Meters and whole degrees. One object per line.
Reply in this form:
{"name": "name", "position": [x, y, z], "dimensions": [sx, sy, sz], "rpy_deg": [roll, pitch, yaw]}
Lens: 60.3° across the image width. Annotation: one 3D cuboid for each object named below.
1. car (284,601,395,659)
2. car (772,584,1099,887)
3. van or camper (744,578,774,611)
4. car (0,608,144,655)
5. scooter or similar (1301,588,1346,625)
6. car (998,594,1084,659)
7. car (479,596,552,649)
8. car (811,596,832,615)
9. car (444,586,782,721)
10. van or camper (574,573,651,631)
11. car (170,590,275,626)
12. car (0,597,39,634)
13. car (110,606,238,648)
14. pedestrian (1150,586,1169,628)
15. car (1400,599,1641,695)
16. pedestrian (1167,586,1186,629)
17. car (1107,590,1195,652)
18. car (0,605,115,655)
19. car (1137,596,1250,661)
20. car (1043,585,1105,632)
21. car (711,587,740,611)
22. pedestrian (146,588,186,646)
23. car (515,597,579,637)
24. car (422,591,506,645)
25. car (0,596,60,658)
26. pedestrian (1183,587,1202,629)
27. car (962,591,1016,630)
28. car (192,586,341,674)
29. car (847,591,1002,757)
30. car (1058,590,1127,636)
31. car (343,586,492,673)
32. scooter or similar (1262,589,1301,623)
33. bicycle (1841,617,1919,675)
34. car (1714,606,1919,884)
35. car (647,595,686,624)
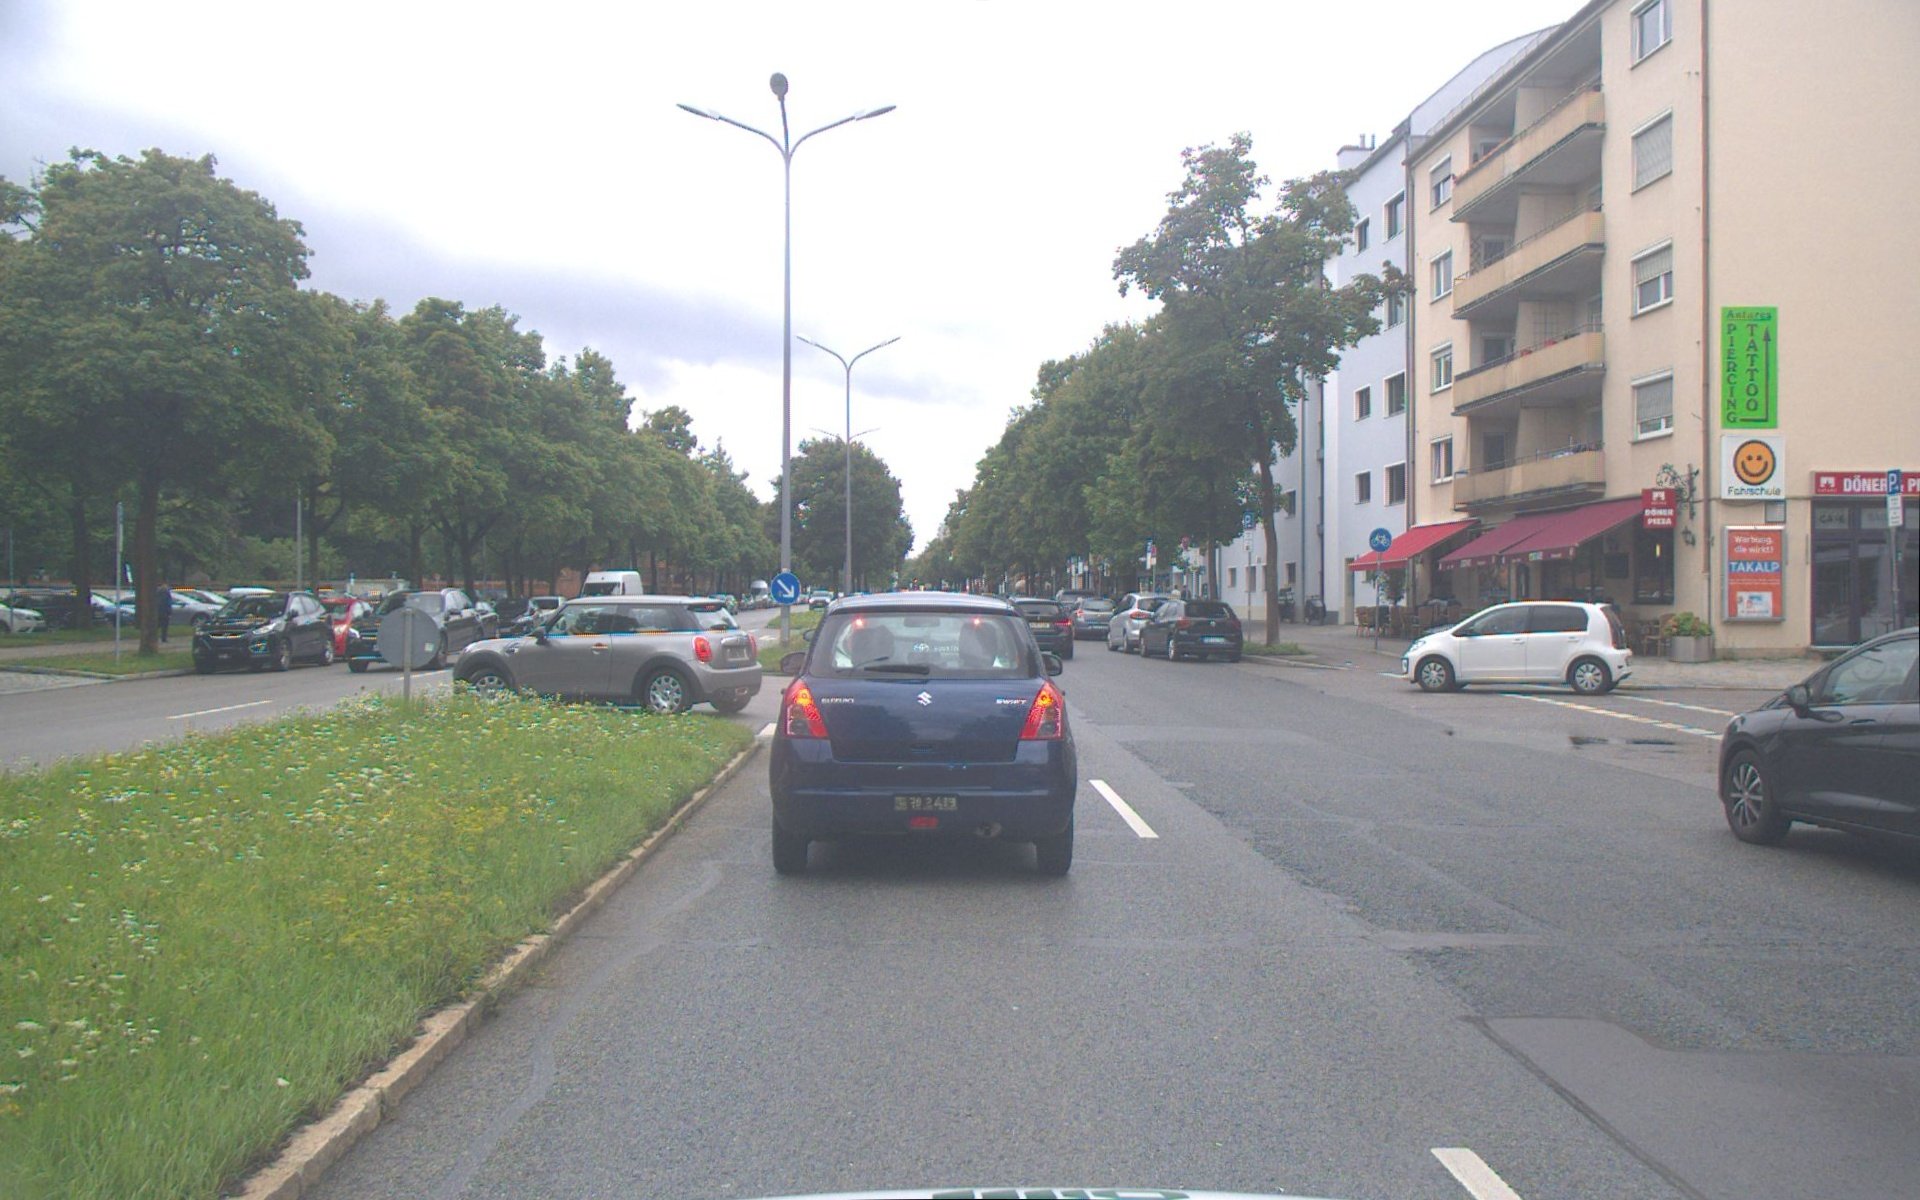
{"name": "car", "position": [-15.307, 0.713, 40.959], "dimensions": [1.559, 1.335, 3.379], "rpy_deg": [1, 0, -2]}
{"name": "car", "position": [-0.204, 0.673, 10.335], "dimensions": [1.648, 1.528, 3.917], "rpy_deg": [0, 0, -3]}
{"name": "van or camper", "position": [-21.100, -0.550, 173.825], "dimensions": [2.509, 3.353, 6.934], "rpy_deg": [1, 0, -2]}
{"name": "car", "position": [-29.152, 1.021, 54.390], "dimensions": [3.792, 1.471, 1.670], "rpy_deg": [1, 0, -7]}
{"name": "scooter or similar", "position": [13.551, 0.226, 61.750], "dimensions": [1.012, 1.330, 2.755], "rpy_deg": [0, 0, -1]}
{"name": "car", "position": [1.913, 0.611, 40.237], "dimensions": [1.723, 1.438, 4.461], "rpy_deg": [1, 0, -2]}
{"name": "car", "position": [-15.467, 0.759, 57.706], "dimensions": [1.599, 1.771, 3.877], "rpy_deg": [1, 0, -2]}
{"name": "car", "position": [-11.917, 0.446, 141.993], "dimensions": [1.599, 1.580, 3.877], "rpy_deg": [1, 0, -2]}
{"name": "car", "position": [-4.157, 0.587, 19.909], "dimensions": [3.644, 1.488, 1.688], "rpy_deg": [0, 0, 19]}
{"name": "van or camper", "position": [-16.138, 0.097, 77.208], "dimensions": [2.074, 2.525, 7.447], "rpy_deg": [1, 0, -1]}
{"name": "car", "position": [-32.031, 0.349, 71.881], "dimensions": [3.792, 1.471, 1.670], "rpy_deg": [1, 0, -7]}
{"name": "car", "position": [-39.788, 0.585, 66.432], "dimensions": [4.596, 1.471, 1.672], "rpy_deg": [1, 0, -1]}
{"name": "car", "position": [-28.406, 0.965, 59.853], "dimensions": [3.792, 1.471, 1.670], "rpy_deg": [1, 0, -7]}
{"name": "pedestrian", "position": [9.691, 0.346, 80.385], "dimensions": [0.778, 2.049, 1.006], "rpy_deg": [0, 0, -1]}
{"name": "car", "position": [9.140, 0.723, 26.957], "dimensions": [3.480, 1.442, 1.869], "rpy_deg": [0, 0, 28]}
{"name": "pedestrian", "position": [10.515, 0.358, 80.411], "dimensions": [0.778, 2.049, 1.006], "rpy_deg": [0, 0, -1]}
{"name": "car", "position": [5.148, 0.521, 45.113], "dimensions": [1.756, 1.585, 4.222], "rpy_deg": [0, 0, -2]}
{"name": "car", "position": [-28.042, 0.896, 50.283], "dimensions": [3.792, 1.471, 1.670], "rpy_deg": [1, 0, -7]}
{"name": "car", "position": [5.566, 0.644, 39.936], "dimensions": [1.829, 1.442, 4.220], "rpy_deg": [-1, 0, -5]}
{"name": "car", "position": [4.288, 0.288, 62.767], "dimensions": [1.828, 1.712, 4.222], "rpy_deg": [0, 0, -3]}
{"name": "car", "position": [-16.420, -0.093, 115.758], "dimensions": [1.599, 1.610, 3.877], "rpy_deg": [1, 0, -2]}
{"name": "pedestrian", "position": [-21.611, 0.449, 45.012], "dimensions": [0.713, 1.561, 0.720], "rpy_deg": [1, 0, -1]}
{"name": "car", "position": [-15.698, 0.613, 63.035], "dimensions": [1.599, 1.456, 3.877], "rpy_deg": [1, 0, -2]}
{"name": "car", "position": [-15.341, 0.526, 51.332], "dimensions": [1.559, 1.585, 3.877], "rpy_deg": [1, 0, -2]}
{"name": "car", "position": [-28.223, 0.753, 47.427], "dimensions": [3.844, 1.748, 1.670], "rpy_deg": [1, 0, -7]}
{"name": "pedestrian", "position": [11.320, 0.369, 80.594], "dimensions": [0.778, 2.049, 1.006], "rpy_deg": [0, 0, -1]}
{"name": "car", "position": [1.119, 0.389, 65.254], "dimensions": [1.697, 1.457, 4.438], "rpy_deg": [1, 0, -5]}
{"name": "car", "position": [-14.913, 0.612, 35.762], "dimensions": [1.682, 1.771, 3.877], "rpy_deg": [1, 0, -2]}
{"name": "car", "position": [-0.392, 0.670, 16.732], "dimensions": [1.415, 1.509, 3.105], "rpy_deg": [0, 0, -3]}
{"name": "car", "position": [4.598, 0.422, 57.950], "dimensions": [1.828, 1.544, 4.222], "rpy_deg": [-1, 0, -3]}
{"name": "car", "position": [-11.342, 0.567, 34.897], "dimensions": [1.731, 1.651, 4.505], "rpy_deg": [-2, 0, -2]}
{"name": "scooter or similar", "position": [12.951, 0.233, 66.754], "dimensions": [1.012, 1.330, 2.755], "rpy_deg": [0, 0, -1]}
{"name": "bicycle", "position": [16.255, 0.789, 28.571], "dimensions": [1.810, 0.974, 0.557], "rpy_deg": [1, 0, -3]}
{"name": "car", "position": [5.981, 0.816, 9.431], "dimensions": [1.584, 1.491, 3.673], "rpy_deg": [2, 0, -2]}
{"name": "car", "position": [-16.436, 0.521, 92.728], "dimensions": [1.599, 1.610, 3.877], "rpy_deg": [1, 0, -2]}
